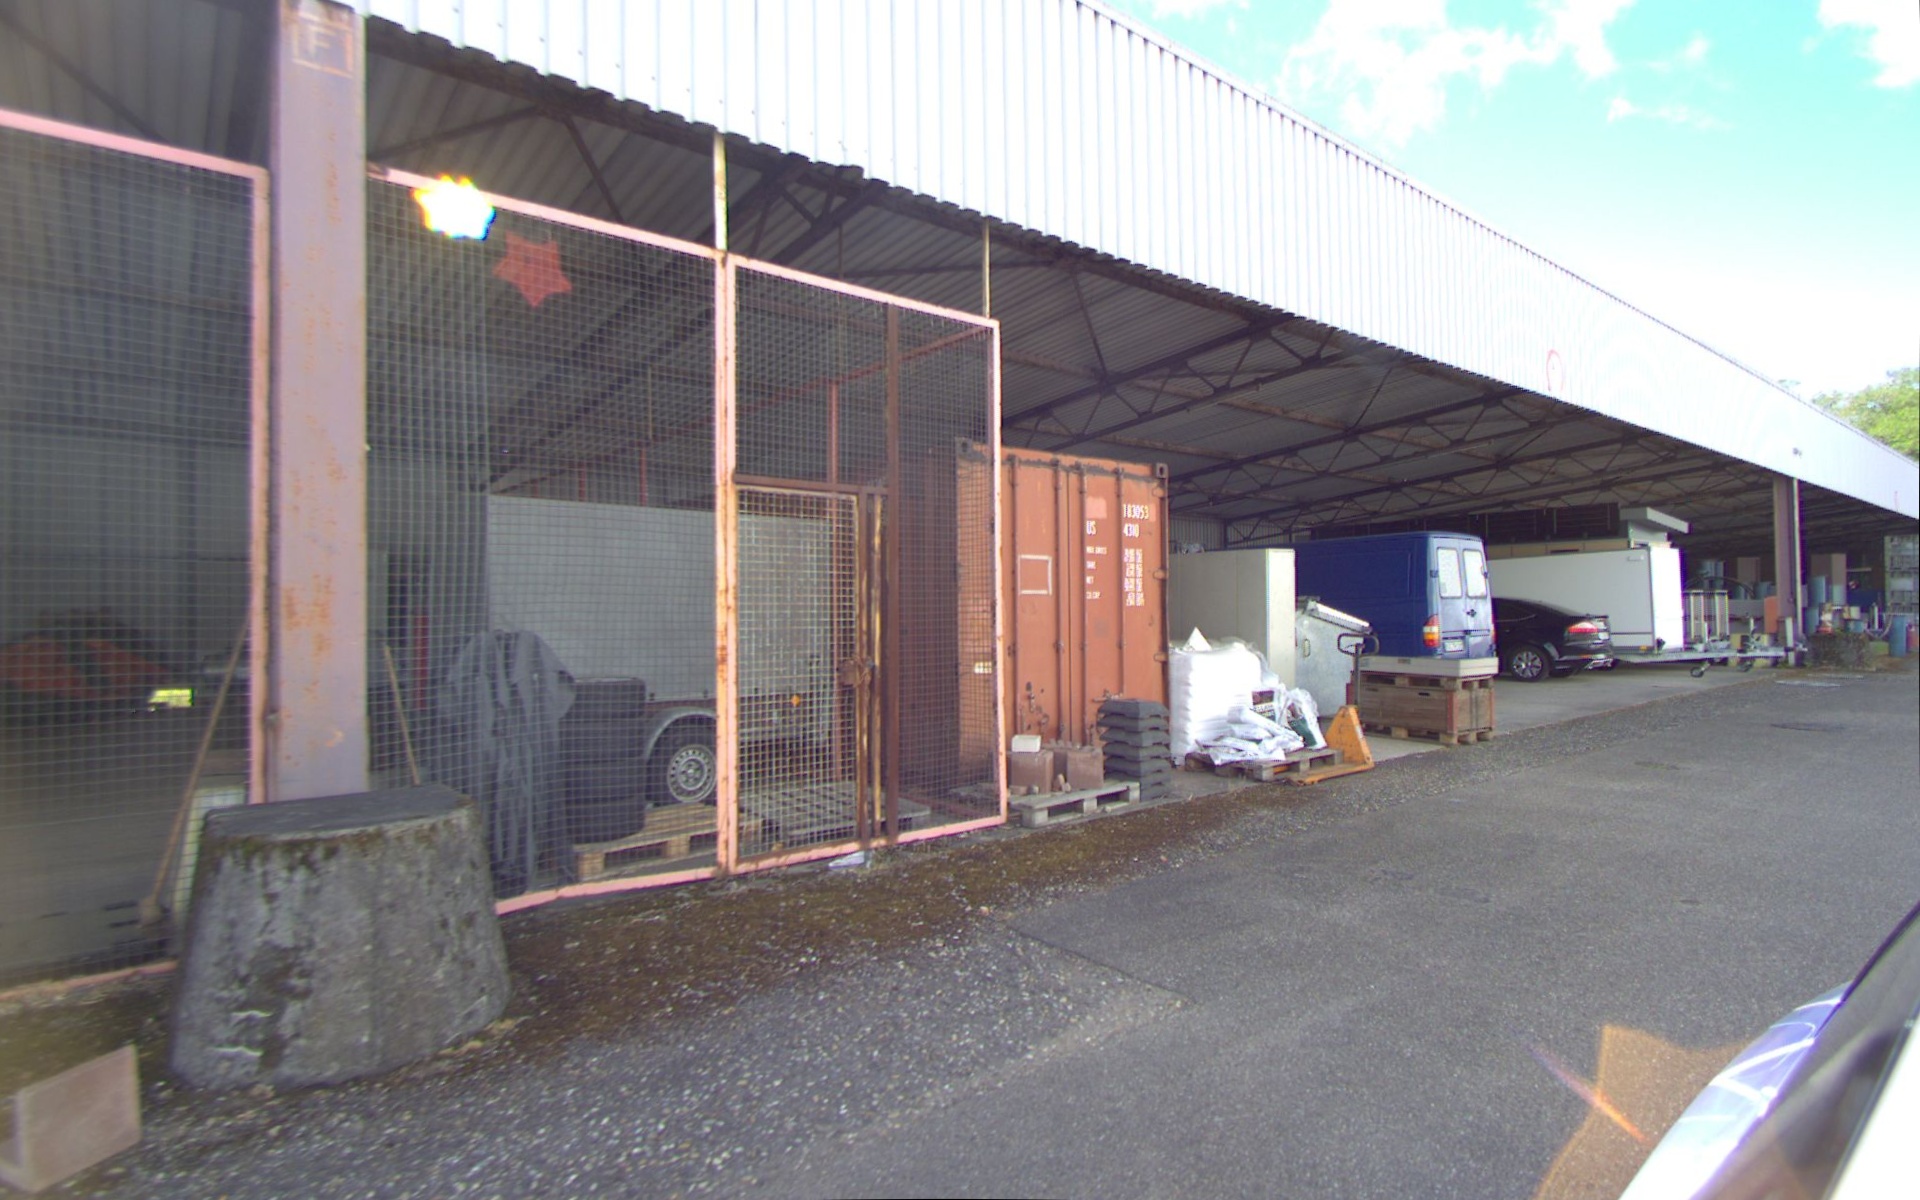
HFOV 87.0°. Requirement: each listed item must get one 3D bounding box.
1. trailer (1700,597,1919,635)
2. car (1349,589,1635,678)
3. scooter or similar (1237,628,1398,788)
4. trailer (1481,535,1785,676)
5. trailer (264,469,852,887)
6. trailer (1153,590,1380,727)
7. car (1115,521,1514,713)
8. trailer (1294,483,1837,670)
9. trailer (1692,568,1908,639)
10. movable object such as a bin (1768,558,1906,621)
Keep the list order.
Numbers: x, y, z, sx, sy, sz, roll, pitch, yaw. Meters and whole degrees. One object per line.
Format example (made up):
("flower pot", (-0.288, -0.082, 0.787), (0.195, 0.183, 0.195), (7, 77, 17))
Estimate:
("trailer", (28.343, 0.512, 33.648), (1.974, 1.147, 5.743), (0, -1, -40))
("car", (9.752, 0.536, 18.815), (1.833, 1.451, 4.349), (-1, 1, -42))
("scooter or similar", (2.988, 0.838, 8.389), (1.564, 1.149, 0.521), (-2, 0, -40))
("trailer", (12.645, 0.079, 19.296), (1.658, 2.364, 4.552), (0, 0, -38))
("trailer", (-2.618, 0.374, 7.021), (3.462, 2.170, 1.579), (-1, 1, -43))
("trailer", (3.727, 0.648, 12.429), (1.611, 1.481, 2.100), (-1, 0, -36))
("car", (4.969, 0.224, 14.956), (2.047, 2.326, 5.225), (-1, 0, -40))
("trailer", (12.871, -0.453, 22.951), (2.627, 3.337, 10.317), (0, 0, -38))
("trailer", (25.932, 0.083, 31.425), (2.009, 2.022, 4.831), (-1, 0, -36))
("movable object such as a bin", (40.676, -0.444, 47.025), (1.965, 2.757, 4.622), (1, -1, -41))
